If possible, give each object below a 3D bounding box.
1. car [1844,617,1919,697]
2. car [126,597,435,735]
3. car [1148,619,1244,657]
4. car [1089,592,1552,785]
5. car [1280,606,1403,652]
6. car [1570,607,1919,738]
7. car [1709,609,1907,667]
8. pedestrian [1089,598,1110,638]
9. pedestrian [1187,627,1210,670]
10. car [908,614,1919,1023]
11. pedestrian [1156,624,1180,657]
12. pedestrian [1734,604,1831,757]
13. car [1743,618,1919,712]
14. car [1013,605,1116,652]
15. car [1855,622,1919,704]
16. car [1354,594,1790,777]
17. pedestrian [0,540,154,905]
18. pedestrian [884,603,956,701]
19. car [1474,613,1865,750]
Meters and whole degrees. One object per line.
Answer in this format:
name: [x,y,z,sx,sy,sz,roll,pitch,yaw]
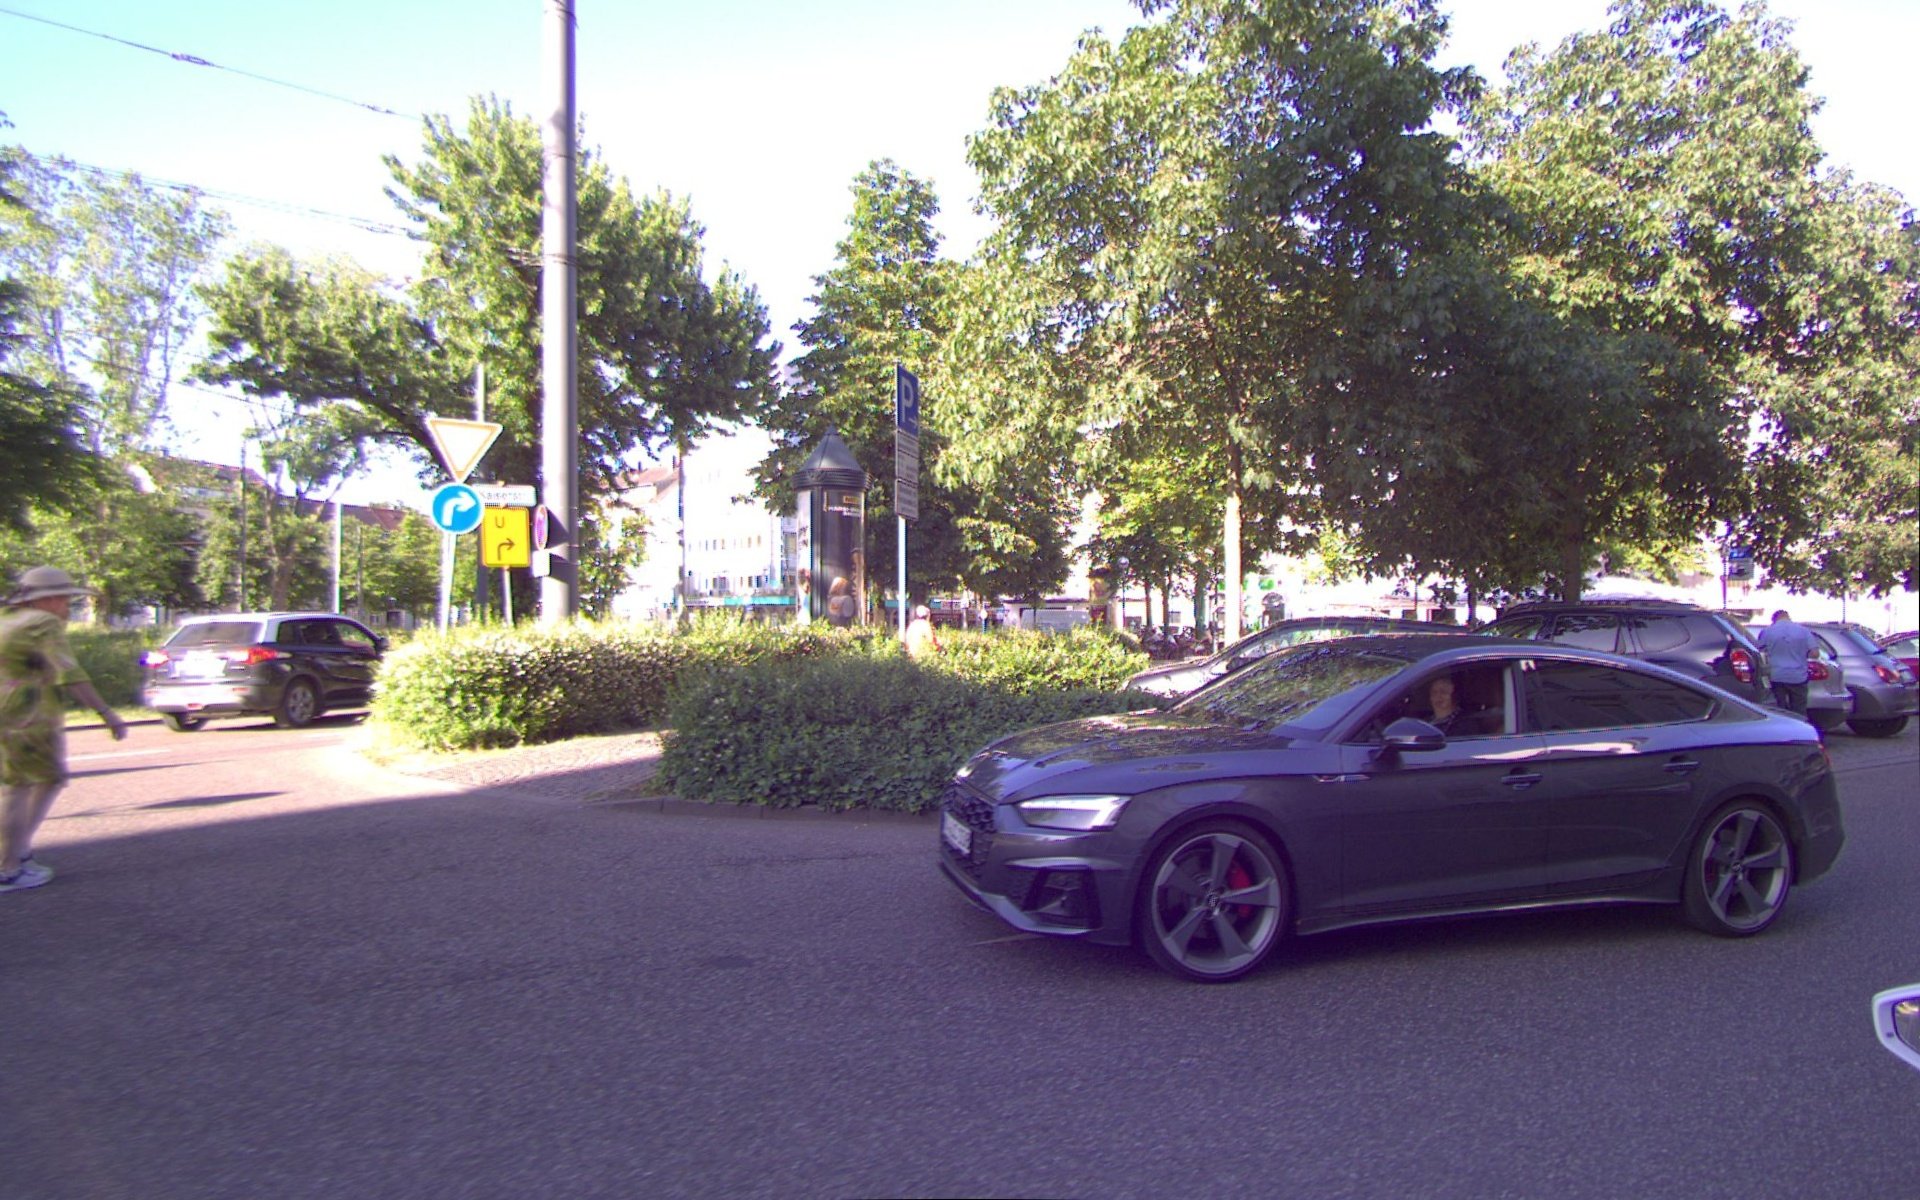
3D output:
car: [21.058,1.227,20.733,3.931,1.607,1.827,2,0,32]
car: [-9.539,0.897,14.550,1.776,1.704,3.872,1,-2,0]
car: [12.996,2.068,55.459,4.798,1.828,1.901,1,-1,39]
car: [3.467,0.738,9.919,3.925,1.489,1.873,2,-1,26]
car: [19.173,1.430,50.639,5.501,2.040,1.812,1,-1,35]
car: [11.567,0.959,14.881,1.731,1.619,3.965,2,-1,-32]
car: [30.186,1.310,36.039,5.192,1.823,2.157,1,-1,35]
pedestrian: [5.320,0.694,38.349,0.549,1.484,0.672,2,0,32]
pedestrian: [8.918,1.816,37.529,0.549,1.567,0.672,2,0,-12]
car: [2.266,0.875,5.189,4.733,1.435,1.911,2,-1,-17]
pedestrian: [7.987,1.543,38.507,0.553,1.253,0.666,2,-1,-37]
pedestrian: [9.411,0.891,11.498,0.640,1.671,0.694,2,0,-36]
car: [16.647,1.146,17.427,4.774,1.508,1.758,1,-1,38]
car: [5.637,1.507,54.618,5.269,2.344,1.992,1,-1,38]
car: [19.543,1.238,18.596,4.163,1.496,1.731,2,0,34]
car: [6.930,0.817,11.618,1.987,1.690,3.946,1,0,-45]
pedestrian: [-4.745,0.576,5.056,0.657,1.721,0.805,2,-1,19]
pedestrian: [-0.647,0.833,16.459,0.756,1.542,0.957,2,-1,30]
car: [9.348,0.973,13.501,1.788,1.467,3.955,2,-1,-38]
